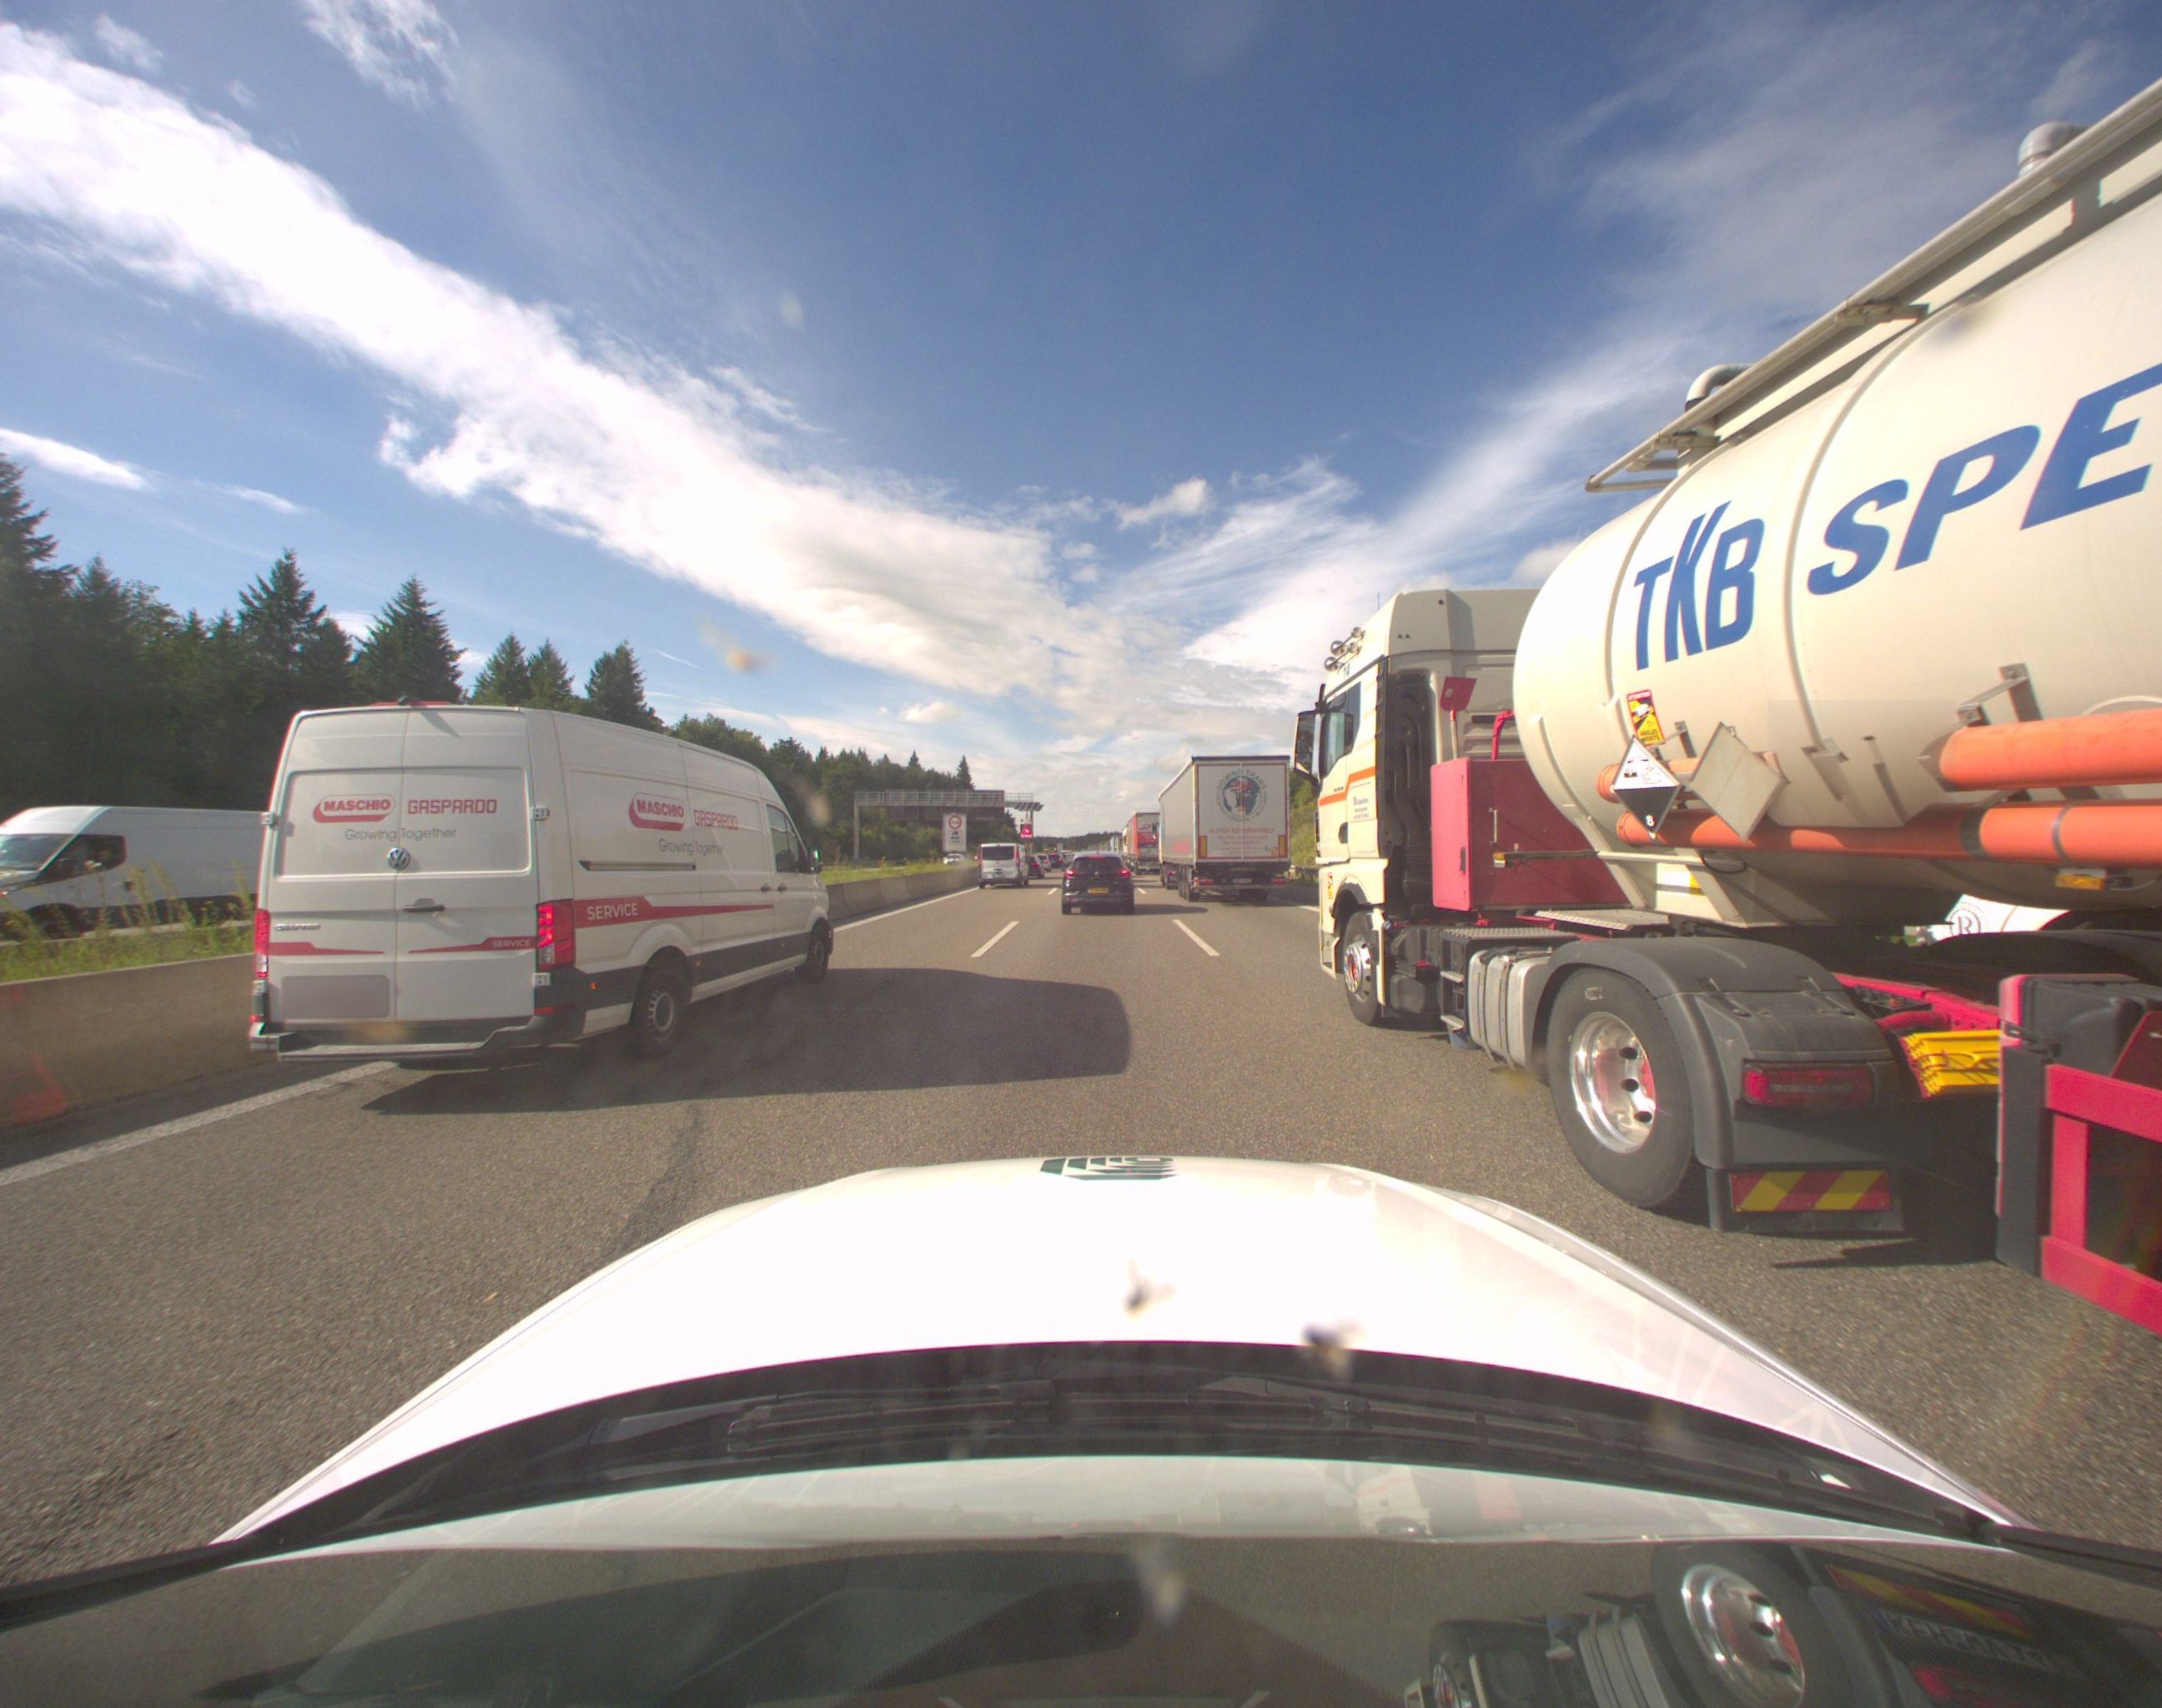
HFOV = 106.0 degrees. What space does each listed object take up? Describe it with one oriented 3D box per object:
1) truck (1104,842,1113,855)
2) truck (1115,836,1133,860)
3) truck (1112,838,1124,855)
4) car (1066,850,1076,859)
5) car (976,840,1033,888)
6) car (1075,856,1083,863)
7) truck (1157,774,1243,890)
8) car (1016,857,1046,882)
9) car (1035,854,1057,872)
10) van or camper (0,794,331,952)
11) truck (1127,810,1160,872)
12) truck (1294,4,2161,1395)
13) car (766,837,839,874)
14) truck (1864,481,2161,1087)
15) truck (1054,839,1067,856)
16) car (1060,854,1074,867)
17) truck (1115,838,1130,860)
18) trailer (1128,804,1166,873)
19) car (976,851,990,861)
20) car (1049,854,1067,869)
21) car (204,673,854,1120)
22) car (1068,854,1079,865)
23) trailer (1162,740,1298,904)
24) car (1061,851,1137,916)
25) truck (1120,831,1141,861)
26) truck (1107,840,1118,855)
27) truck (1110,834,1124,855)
[{"bbox_3d":[6.720,-1.246,199.711,1.986,3.052,4.983,2,0,2],"label":"truck"},{"bbox_3d":[5.318,-0.718,101.198,1.986,2.932,4.983,2,0,2],"label":"truck"},{"bbox_3d":[6.782,-1.361,150.251,1.986,3.052,4.983,2,0,2],"label":"truck"},{"bbox_3d":[-1.417,0.136,115.266,1.356,1.238,3.085,0,0,1],"label":"car"},{"bbox_3d":[-3.422,0.455,37.444,1.926,1.979,5.100,2,0,1],"label":"car"},{"bbox_3d":[-0.349,0.897,135.868,1.356,1.159,3.085,-1,0,1],"label":"car"},{"bbox_3d":[4.704,-0.788,33.457,2.775,4.247,6.463,-1,0,2],"label":"truck"},{"bbox_3d":[-2.995,0.907,49.275,1.494,1.396,3.476,1,0,1],"label":"car"},{"bbox_3d":[-2.839,0.722,66.237,1.494,1.396,3.476,2,0,1],"label":"car"},{"bbox_3d":[-18.774,0.319,15.694,1.940,2.593,7.153,-1,0,1],"label":"van or camper"},{"bbox_3d":[4.533,-0.886,60.117,2.126,4.282,6.341,0,0,2],"label":"truck"},{"bbox_3d":[3.507,-0.413,5.457,2.524,3.584,6.731,-1,0,1],"label":"truck"},{"bbox_3d":[-18.146,0.124,53.560,2.308,2.193,6.863,2,0,1],"label":"car"},{"bbox_3d":[7.594,-0.434,3.234,2.520,3.573,6.778,-1,0,2],"label":"truck"},{"bbox_3d":[-4.601,-1.448,184.260,2.335,3.594,6.307,2,0,1],"label":"truck"},{"bbox_3d":[-1.524,0.744,91.603,1.430,1.310,3.534,2,0,1],"label":"car"},{"bbox_3d":[5.826,-0.663,115.032,1.986,2.932,4.983,2,0,2],"label":"truck"},{"bbox_3d":[4.357,-0.933,54.866,2.141,4.259,8.444,0,0,2],"label":"trailer"},{"bbox_3d":[-17.411,0.423,145.113,1.881,1.684,4.002,2,0,2],"label":"car"},{"bbox_3d":[-2.154,0.682,77.036,1.430,1.310,3.534,2,0,1],"label":"car"},{"bbox_3d":[-4.118,0.243,7.896,2.008,2.599,6.181,-1,0,0],"label":"car"},{"bbox_3d":[-0.940,0.683,106.378,1.356,1.301,3.085,2,0,1],"label":"car"},{"bbox_3d":[4.450,-0.815,26.856,2.792,4.244,11.062,-1,0,2],"label":"trailer"},{"bbox_3d":[0.567,0.698,21.368,1.689,1.483,4.166,0,1,5],"label":"car"},{"bbox_3d":[5.120,-0.765,84.829,1.986,2.932,4.983,2,0,2],"label":"truck"},{"bbox_3d":[6.730,-1.306,174.196,1.986,3.052,4.983,2,0,2],"label":"truck"},{"bbox_3d":[5.599,-1.464,127.726,1.986,3.052,4.983,2,0,2],"label":"truck"}]
